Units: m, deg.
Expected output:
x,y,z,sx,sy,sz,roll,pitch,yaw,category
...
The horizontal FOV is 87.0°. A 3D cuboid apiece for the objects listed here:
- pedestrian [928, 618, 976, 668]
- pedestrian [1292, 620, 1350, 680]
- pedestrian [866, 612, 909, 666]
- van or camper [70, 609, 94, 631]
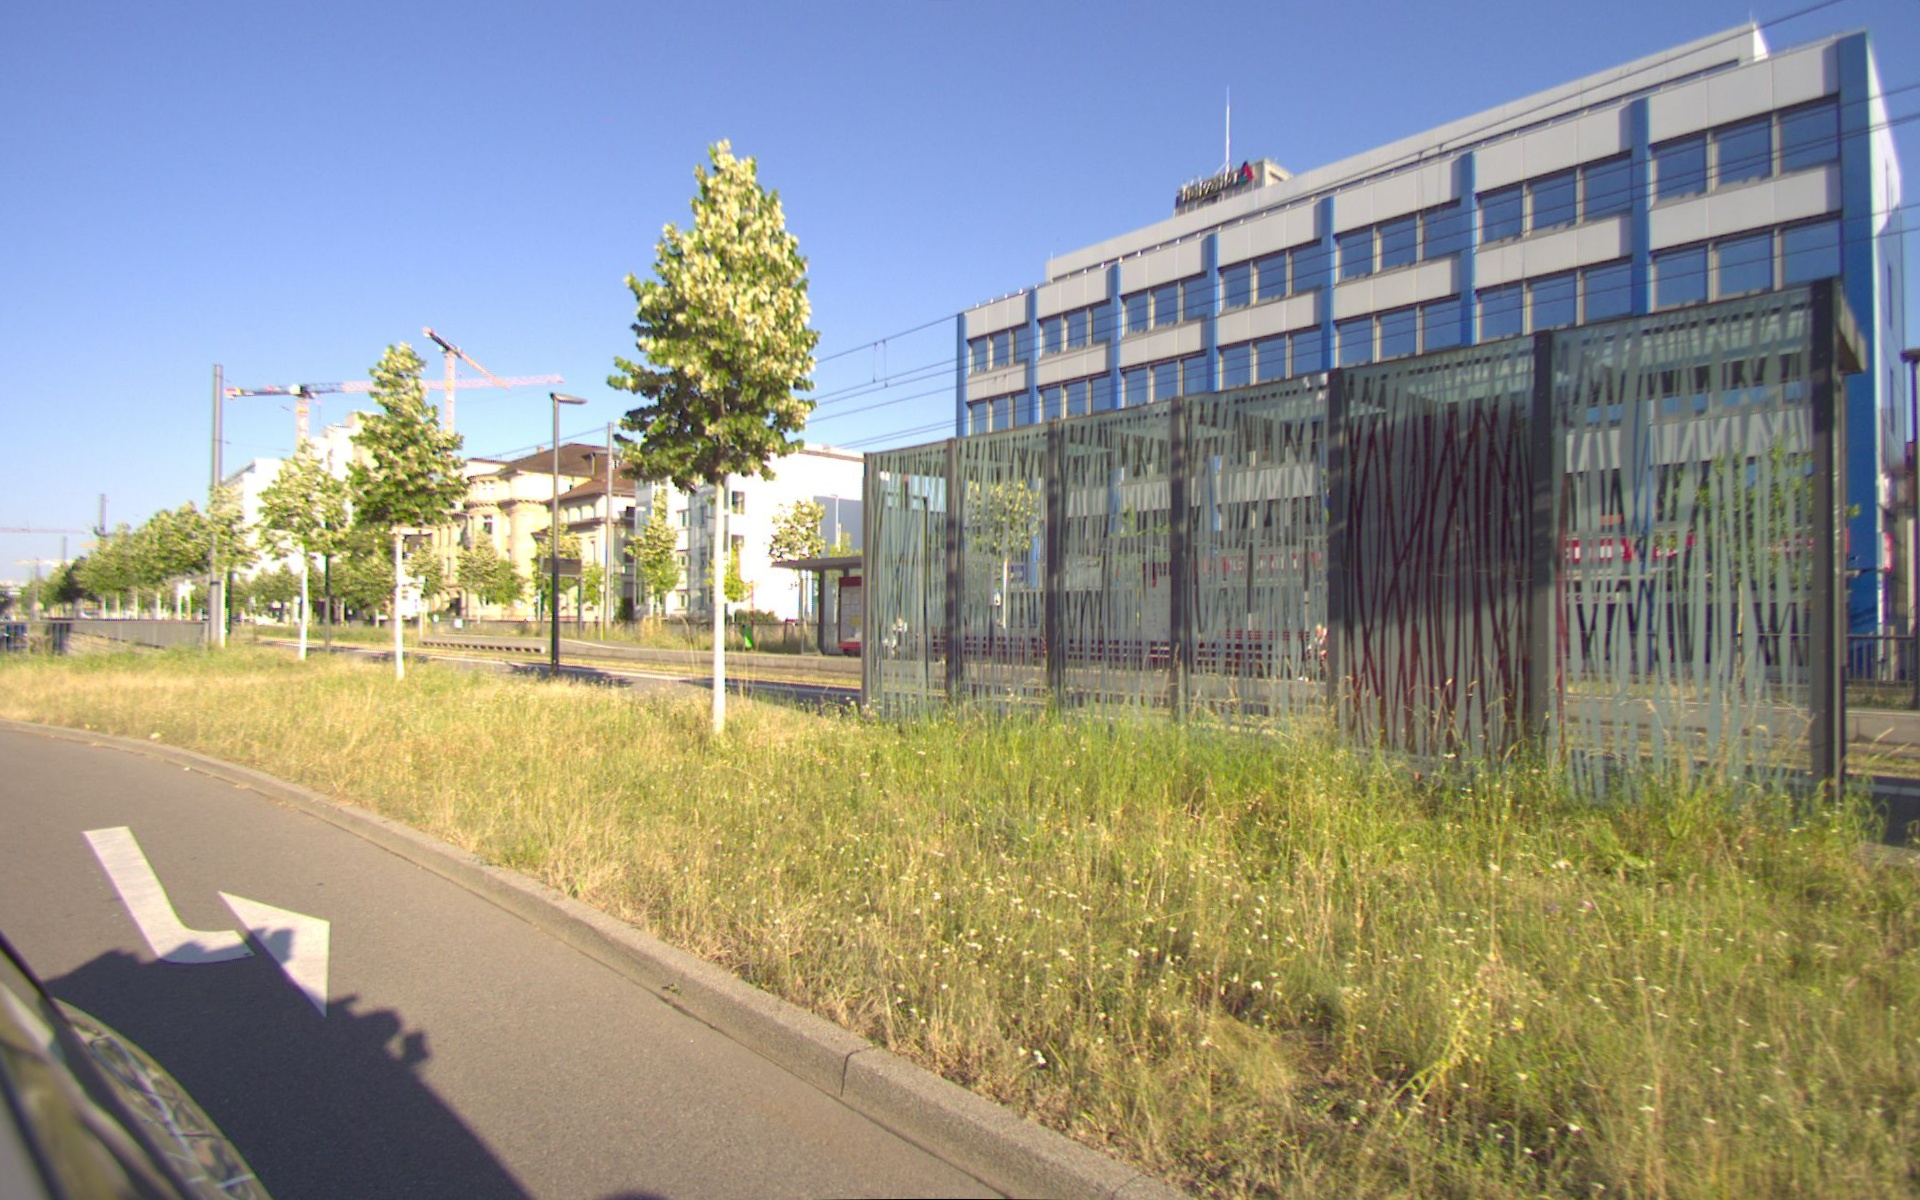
x,y,z,sx,sy,sz,roll,pitch,yaw,category
-0.198,1.073,25.467,0.923,1.206,0.765,2,-2,-45,pedestrian
6.476,0.882,18.160,0.620,1.055,0.794,2,-2,-44,pedestrian
-1.963,1.039,27.343,0.828,1.421,0.804,2,-2,-45,pedestrian
-128.876,2.914,148.571,2.474,3.192,7.486,1,-2,-41,van or camper
